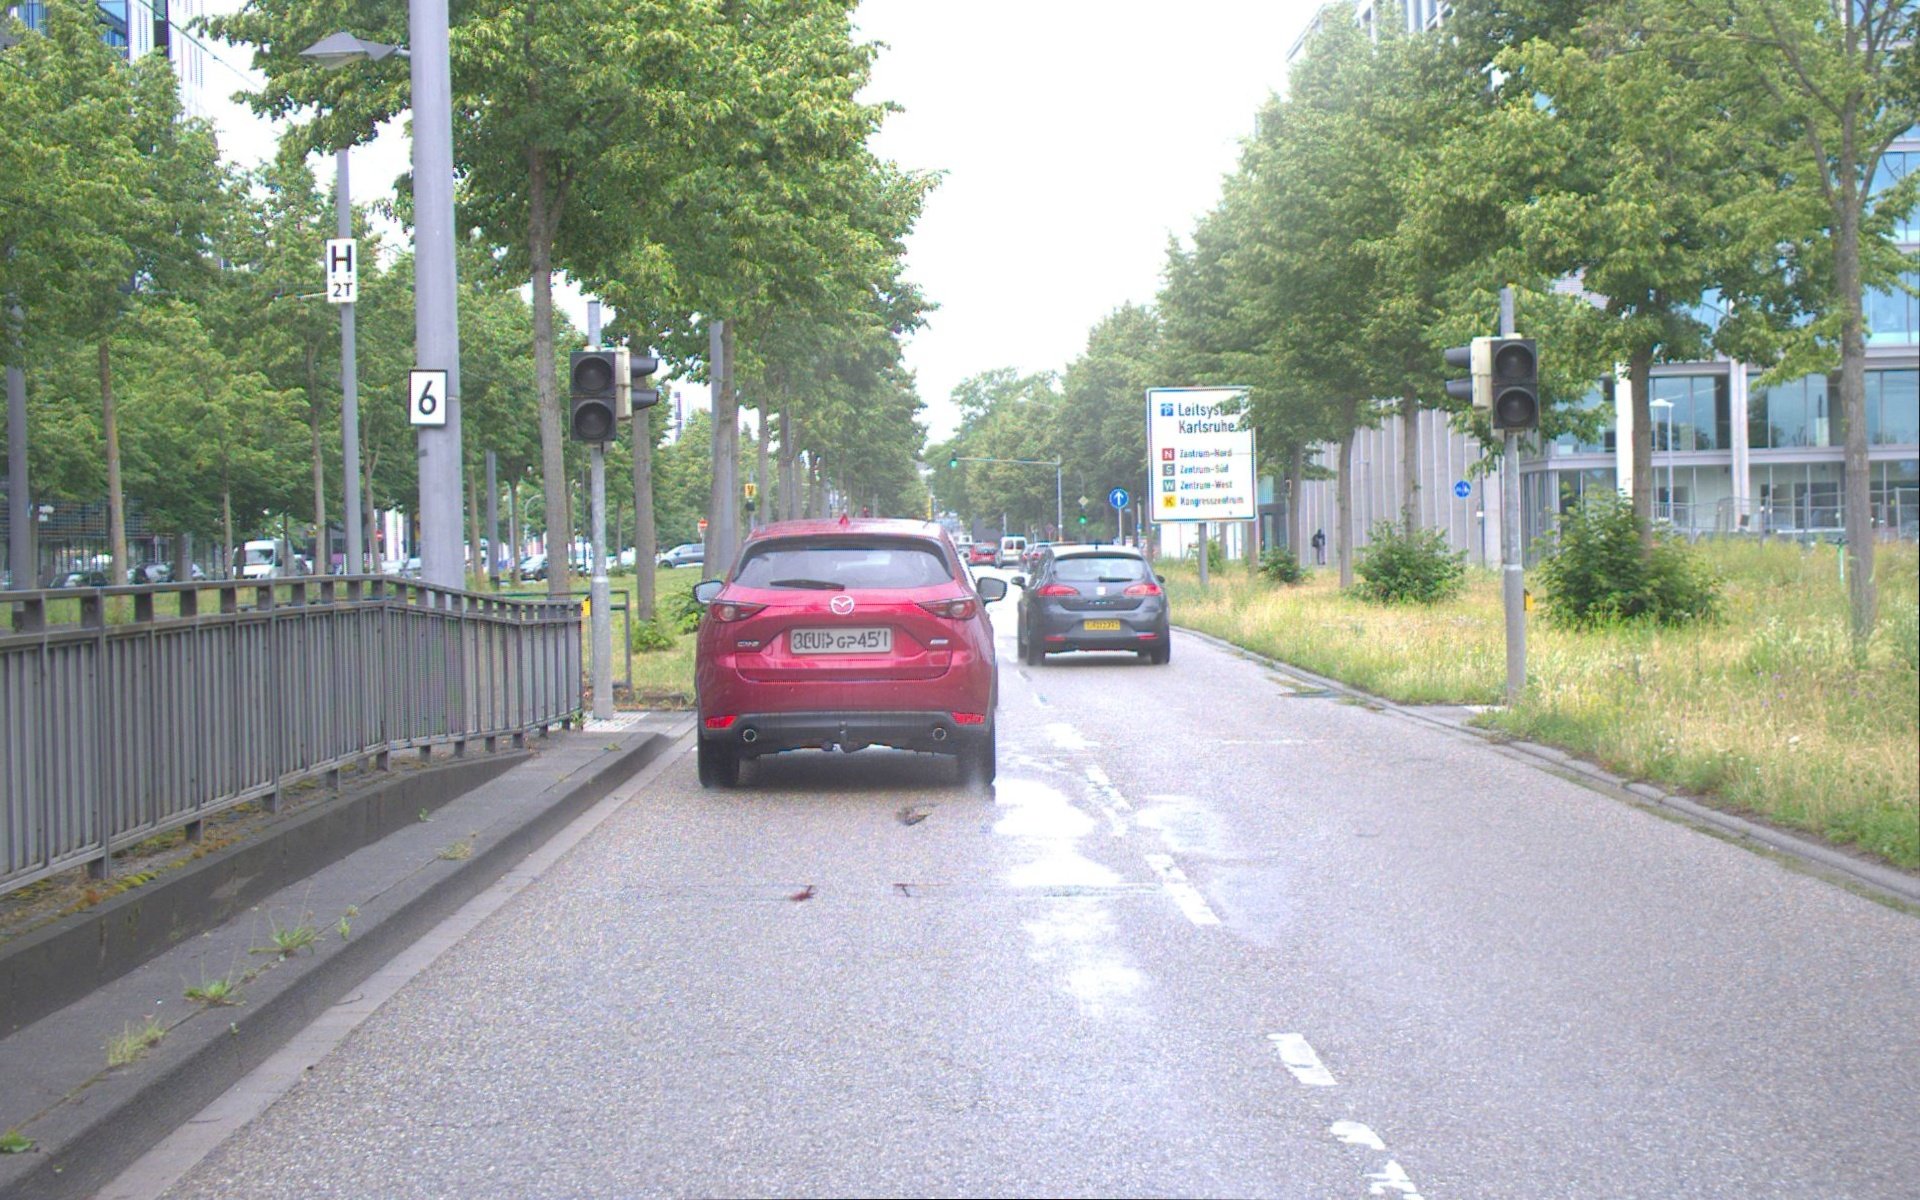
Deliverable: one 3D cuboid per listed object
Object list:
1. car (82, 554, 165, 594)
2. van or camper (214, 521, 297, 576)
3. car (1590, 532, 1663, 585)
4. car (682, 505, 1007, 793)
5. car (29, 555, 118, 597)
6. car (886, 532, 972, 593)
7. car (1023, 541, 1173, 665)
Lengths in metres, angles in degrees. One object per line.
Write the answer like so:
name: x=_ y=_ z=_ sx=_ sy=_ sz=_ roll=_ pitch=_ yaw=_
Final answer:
car: x=-29.977 y=-0.955 z=123.305 sx=1.993 sy=1.373 sz=4.000 roll=-1 pitch=1 yaw=-1
van or camper: x=-30.616 y=-2.266 z=149.542 sx=2.433 sy=2.307 sz=5.850 roll=-1 pitch=1 yaw=-1
car: x=20.283 y=-1.280 z=104.753 sx=1.855 sy=1.575 sz=3.999 roll=-1 pitch=1 yaw=7
car: x=-0.720 y=0.257 z=22.256 sx=1.898 sy=1.671 sz=4.000 roll=-1 pitch=1 yaw=-1
car: x=-30.032 y=-0.823 z=116.591 sx=1.993 sy=1.373 sz=4.000 roll=-1 pitch=1 yaw=-1
car: x=-0.779 y=-0.932 z=83.798 sx=1.967 sy=1.432 sz=4.553 roll=0 pitch=1 yaw=-2
car: x=1.677 y=0.003 z=42.709 sx=1.743 sy=1.460 sz=3.781 roll=-1 pitch=1 yaw=1
